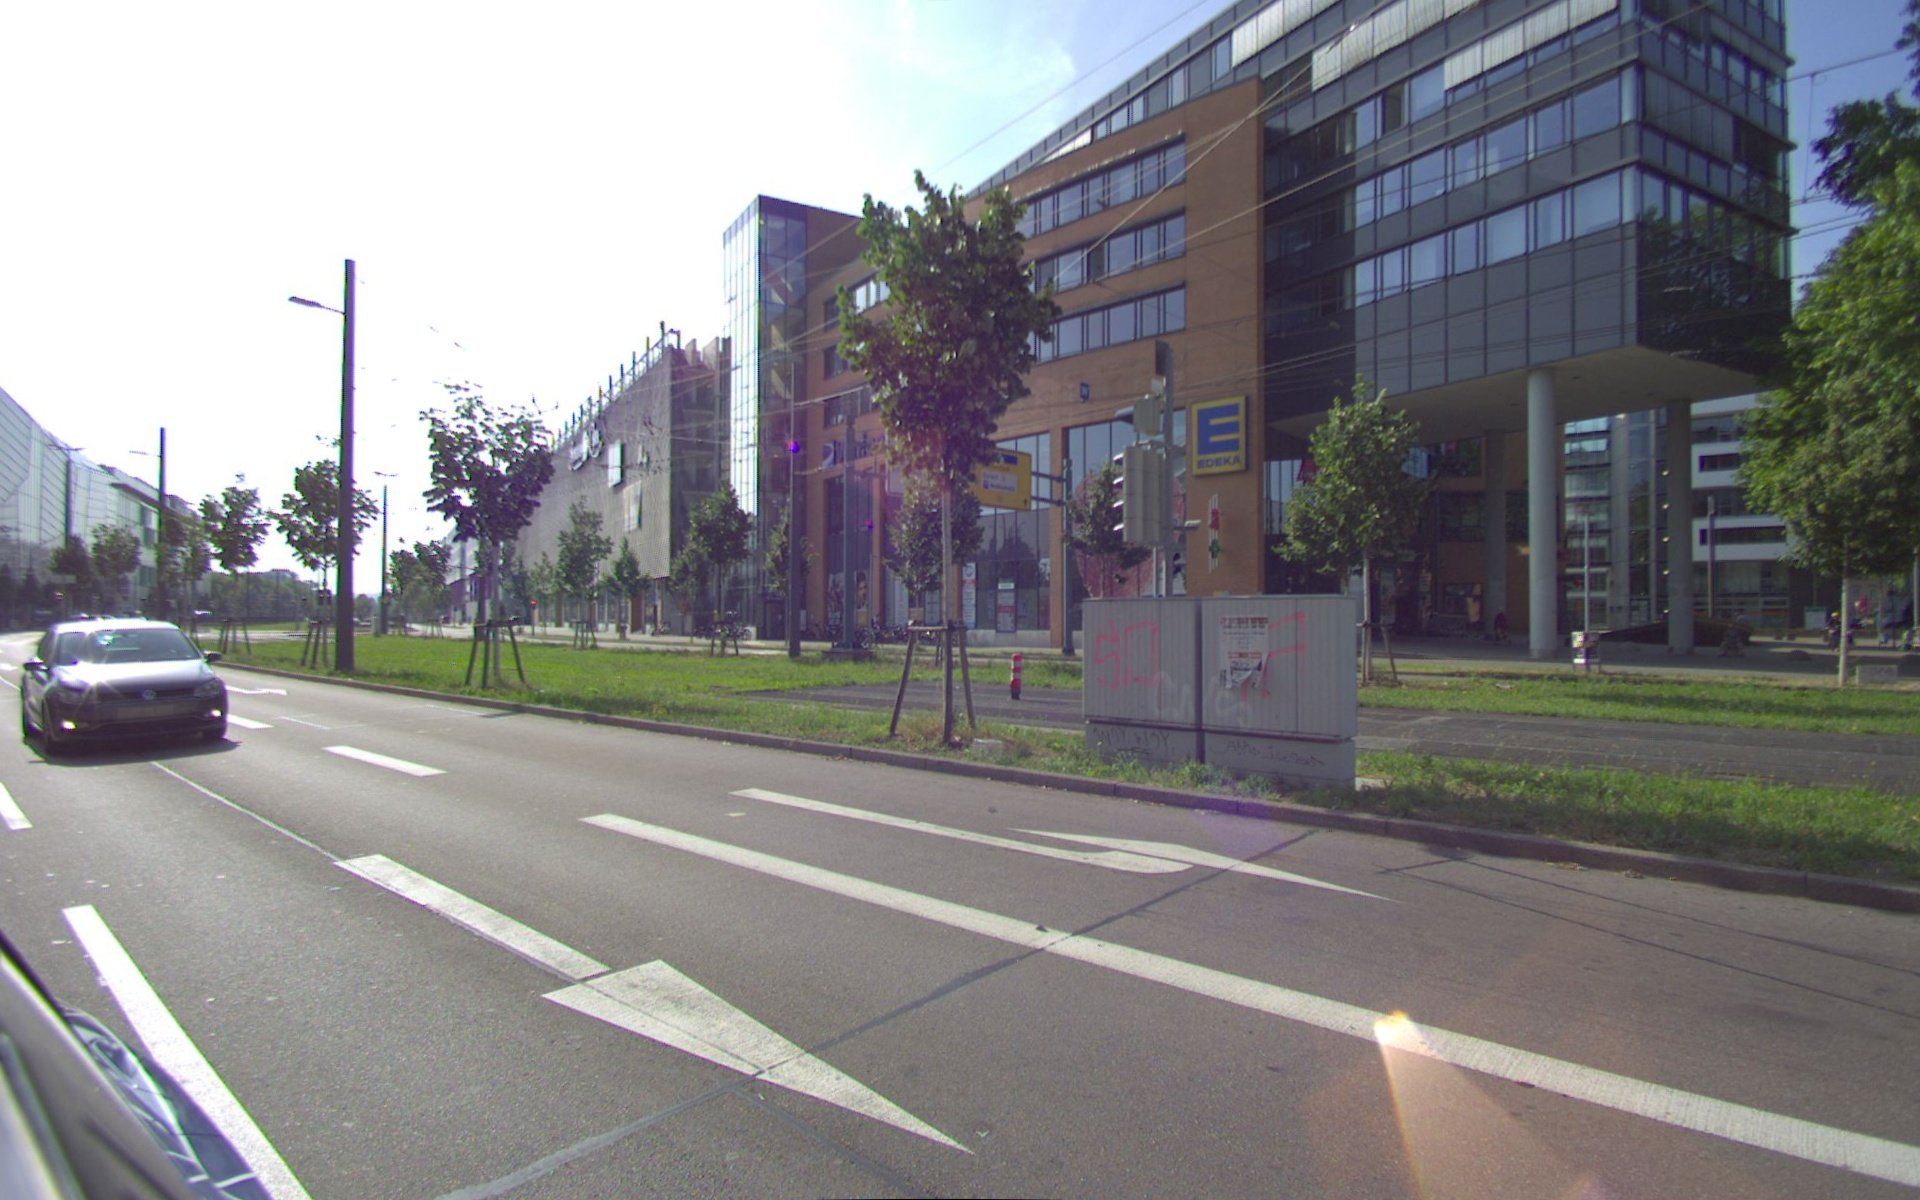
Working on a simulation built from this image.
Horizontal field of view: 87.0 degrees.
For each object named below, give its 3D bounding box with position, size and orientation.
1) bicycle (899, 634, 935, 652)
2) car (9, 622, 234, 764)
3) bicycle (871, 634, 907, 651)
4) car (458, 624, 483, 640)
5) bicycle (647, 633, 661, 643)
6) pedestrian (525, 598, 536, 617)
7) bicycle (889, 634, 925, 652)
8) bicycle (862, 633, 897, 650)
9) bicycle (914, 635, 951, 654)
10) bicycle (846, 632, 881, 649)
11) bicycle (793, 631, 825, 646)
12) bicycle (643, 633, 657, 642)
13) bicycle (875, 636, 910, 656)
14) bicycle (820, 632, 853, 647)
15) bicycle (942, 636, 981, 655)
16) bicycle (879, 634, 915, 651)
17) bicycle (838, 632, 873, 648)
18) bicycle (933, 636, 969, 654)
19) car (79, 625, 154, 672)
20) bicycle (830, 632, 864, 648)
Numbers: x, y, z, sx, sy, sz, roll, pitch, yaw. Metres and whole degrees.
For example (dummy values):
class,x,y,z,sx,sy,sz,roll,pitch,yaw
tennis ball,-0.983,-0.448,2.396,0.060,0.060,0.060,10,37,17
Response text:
class,x,y,z,sx,sy,sz,roll,pitch,yaw
bicycle,-2.343,2.334,55.350,2.021,0.928,0.575,1,-2,-36
car,-10.264,0.995,12.290,3.895,1.430,1.621,-1,-2,43
bicycle,-4.025,2.389,57.406,2.021,0.928,0.575,1,-2,-36
car,-40.029,2.578,82.786,1.347,1.215,2.644,1,0,-37
bicycle,-23.699,2.933,78.363,1.006,0.758,0.362,0,-2,-30
pedestrian,-37.065,0.629,87.338,0.751,1.591,0.591,1,-1,-35
bicycle,-2.919,2.367,56.045,2.021,0.928,0.575,1,-2,-36
bicycle,-4.598,2.383,58.055,2.021,0.928,0.575,1,-2,-36
bicycle,-1.476,2.363,53.905,2.021,0.928,0.575,1,-2,-36
bicycle,-5.648,2.372,59.474,2.021,0.928,0.575,1,-2,-36
bicycle,-9.661,2.492,64.867,2.021,0.928,0.575,1,-2,-36
bicycle,-24.293,2.936,79.401,0.989,0.758,0.453,0,-2,-30
bicycle,-3.220,2.171,48.249,0.709,0.914,1.657,0,-1,42
bicycle,-7.543,2.414,61.853,2.021,0.928,0.575,1,-2,-36
bicycle,0.080,2.345,52.096,2.021,0.928,0.575,1,-2,-36
bicycle,-3.503,2.369,56.722,2.021,0.928,0.575,1,-2,-36
bicycle,-6.212,2.374,60.142,2.021,0.928,0.575,1,-2,-36
bicycle,-0.444,2.341,52.746,2.021,0.928,0.381,1,-2,-36
car,-26.154,1.462,31.352,1.564,1.353,3.167,1,-2,-44
bicycle,-6.806,2.399,61.129,2.021,0.928,0.575,1,-2,-36
